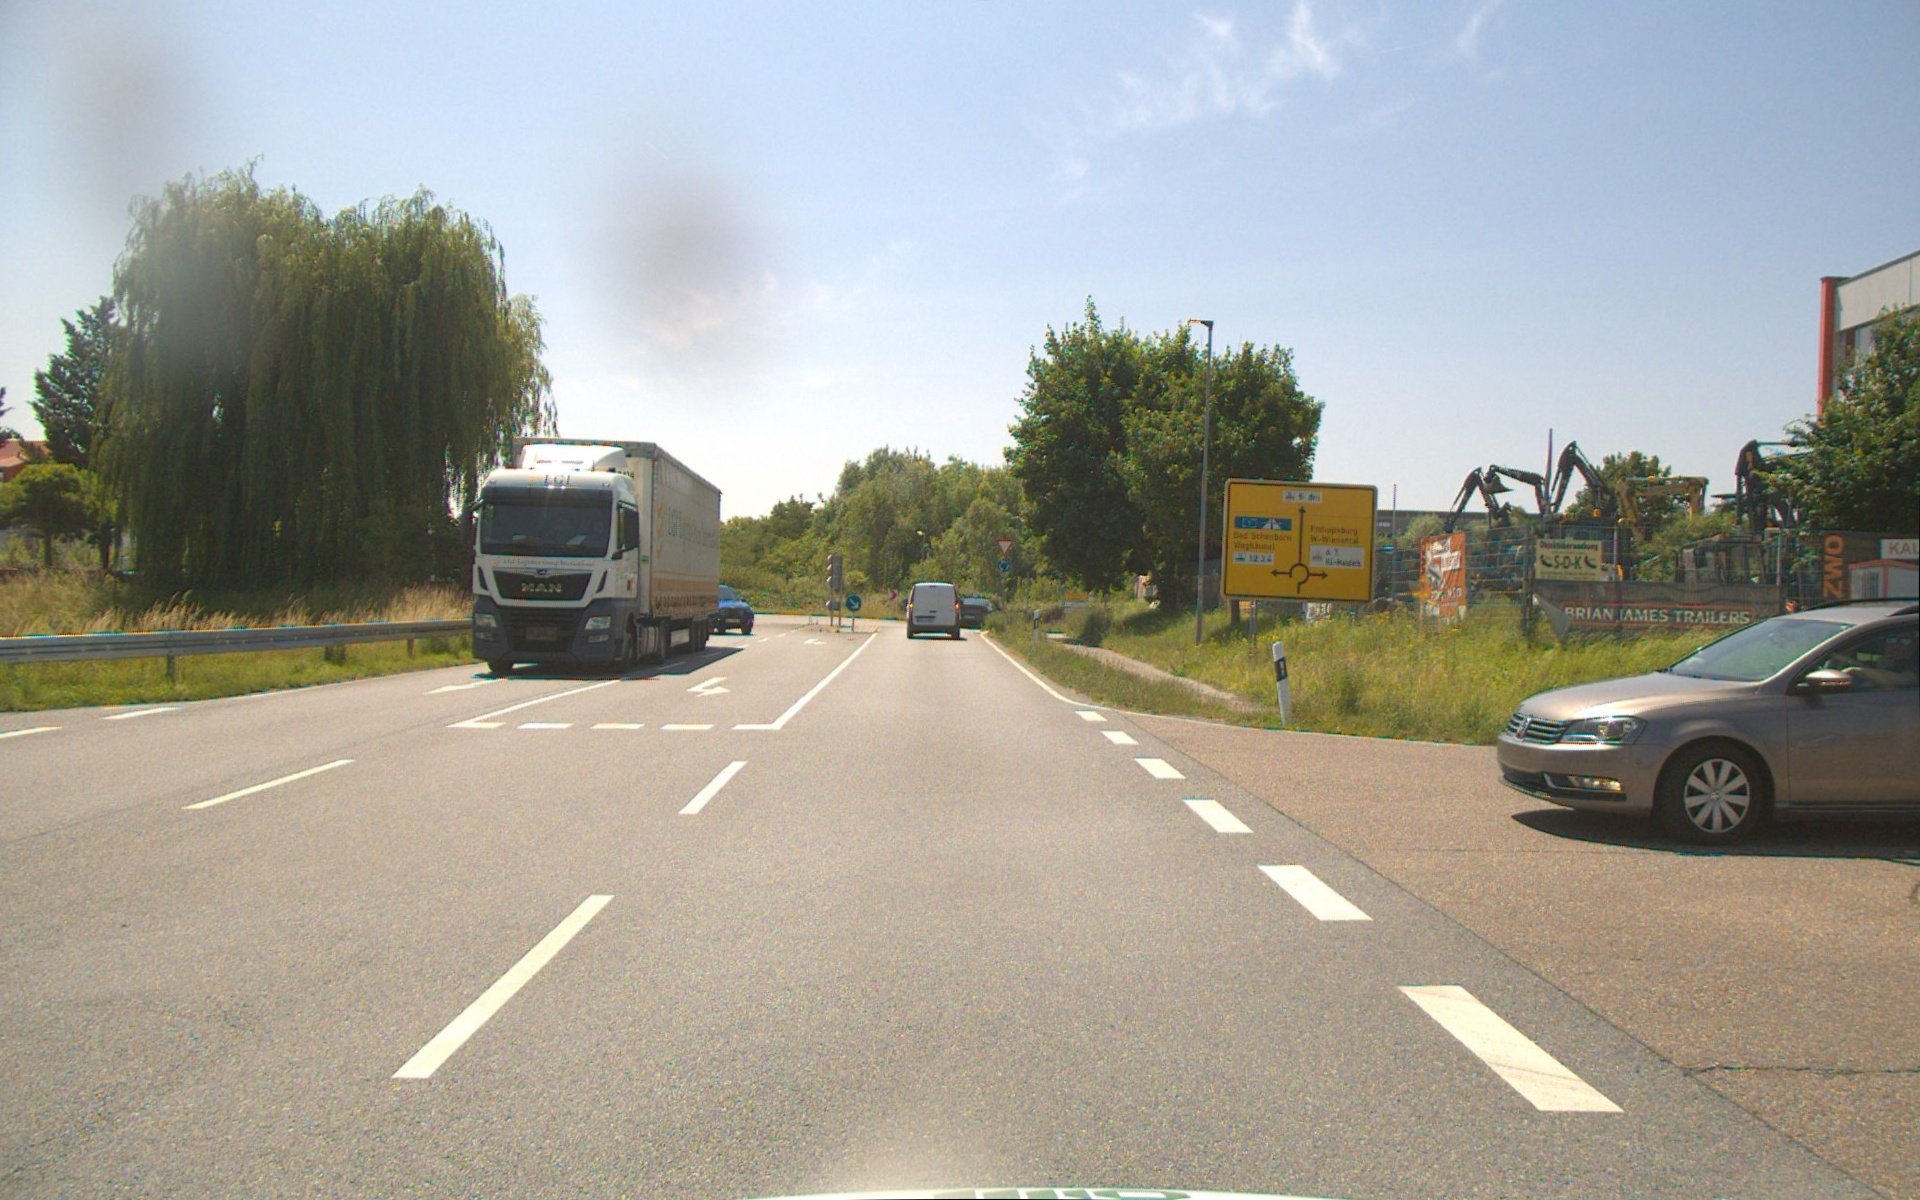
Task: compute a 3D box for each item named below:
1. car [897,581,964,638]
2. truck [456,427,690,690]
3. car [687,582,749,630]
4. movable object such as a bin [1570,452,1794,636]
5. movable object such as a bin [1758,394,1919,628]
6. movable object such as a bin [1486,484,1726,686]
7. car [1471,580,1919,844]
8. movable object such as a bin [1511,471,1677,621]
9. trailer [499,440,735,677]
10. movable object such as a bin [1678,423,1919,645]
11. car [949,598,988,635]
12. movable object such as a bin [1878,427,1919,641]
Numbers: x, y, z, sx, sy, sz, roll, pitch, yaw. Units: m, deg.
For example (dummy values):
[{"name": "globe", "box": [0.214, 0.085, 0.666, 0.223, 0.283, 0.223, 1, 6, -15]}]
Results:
[{"name": "car", "box": [-1.004, 0.302, 54.565, 1.867, 1.763, 3.817, 2, 0, -6]}, {"name": "truck", "box": [-6.854, -0.714, 30.339, 2.734, 4.127, 6.751, 3, 0, -3]}, {"name": "car", "box": [-8.244, 0.178, 56.160, 1.815, 1.595, 3.988, 0, 0, -12]}, {"name": "movable object such as a bin", "box": [22.962, -1.700, 52.860, 5.598, 5.361, 3.222, 3, -2, 2]}, {"name": "movable object such as a bin", "box": [23.041, -2.003, 40.005, 5.796, 5.194, 3.109, 3, -2, 2]}, {"name": "movable object such as a bin", "box": [11.836, -0.187, 30.754, 2.276, 3.307, 5.100, 3, -2, -1]}, {"name": "car", "box": [5.840, 0.678, 10.780, 4.419, 1.534, 1.914, 1, 0, 0]}, {"name": "movable object such as a bin", "box": [23.654, -1.968, 61.893, 4.980, 5.143, 2.778, 3, -2, 2]}, {"name": "trailer", "box": [-7.120, -0.833, 36.645, 2.734, 4.126, 13.496, 3, 1, -2]}, {"name": "movable object such as a bin", "box": [23.196, -1.637, 43.901, 6.455, 5.237, 3.807, 3, -2, 2]}, {"name": "car", "box": [0.392, 0.792, 81.264, 1.769, 1.583, 4.000, 2, 2, -1]}, {"name": "movable object such as a bin", "box": [22.178, -1.253, 33.938, 4.980, 4.349, 2.835, 3, -2, 2]}]
